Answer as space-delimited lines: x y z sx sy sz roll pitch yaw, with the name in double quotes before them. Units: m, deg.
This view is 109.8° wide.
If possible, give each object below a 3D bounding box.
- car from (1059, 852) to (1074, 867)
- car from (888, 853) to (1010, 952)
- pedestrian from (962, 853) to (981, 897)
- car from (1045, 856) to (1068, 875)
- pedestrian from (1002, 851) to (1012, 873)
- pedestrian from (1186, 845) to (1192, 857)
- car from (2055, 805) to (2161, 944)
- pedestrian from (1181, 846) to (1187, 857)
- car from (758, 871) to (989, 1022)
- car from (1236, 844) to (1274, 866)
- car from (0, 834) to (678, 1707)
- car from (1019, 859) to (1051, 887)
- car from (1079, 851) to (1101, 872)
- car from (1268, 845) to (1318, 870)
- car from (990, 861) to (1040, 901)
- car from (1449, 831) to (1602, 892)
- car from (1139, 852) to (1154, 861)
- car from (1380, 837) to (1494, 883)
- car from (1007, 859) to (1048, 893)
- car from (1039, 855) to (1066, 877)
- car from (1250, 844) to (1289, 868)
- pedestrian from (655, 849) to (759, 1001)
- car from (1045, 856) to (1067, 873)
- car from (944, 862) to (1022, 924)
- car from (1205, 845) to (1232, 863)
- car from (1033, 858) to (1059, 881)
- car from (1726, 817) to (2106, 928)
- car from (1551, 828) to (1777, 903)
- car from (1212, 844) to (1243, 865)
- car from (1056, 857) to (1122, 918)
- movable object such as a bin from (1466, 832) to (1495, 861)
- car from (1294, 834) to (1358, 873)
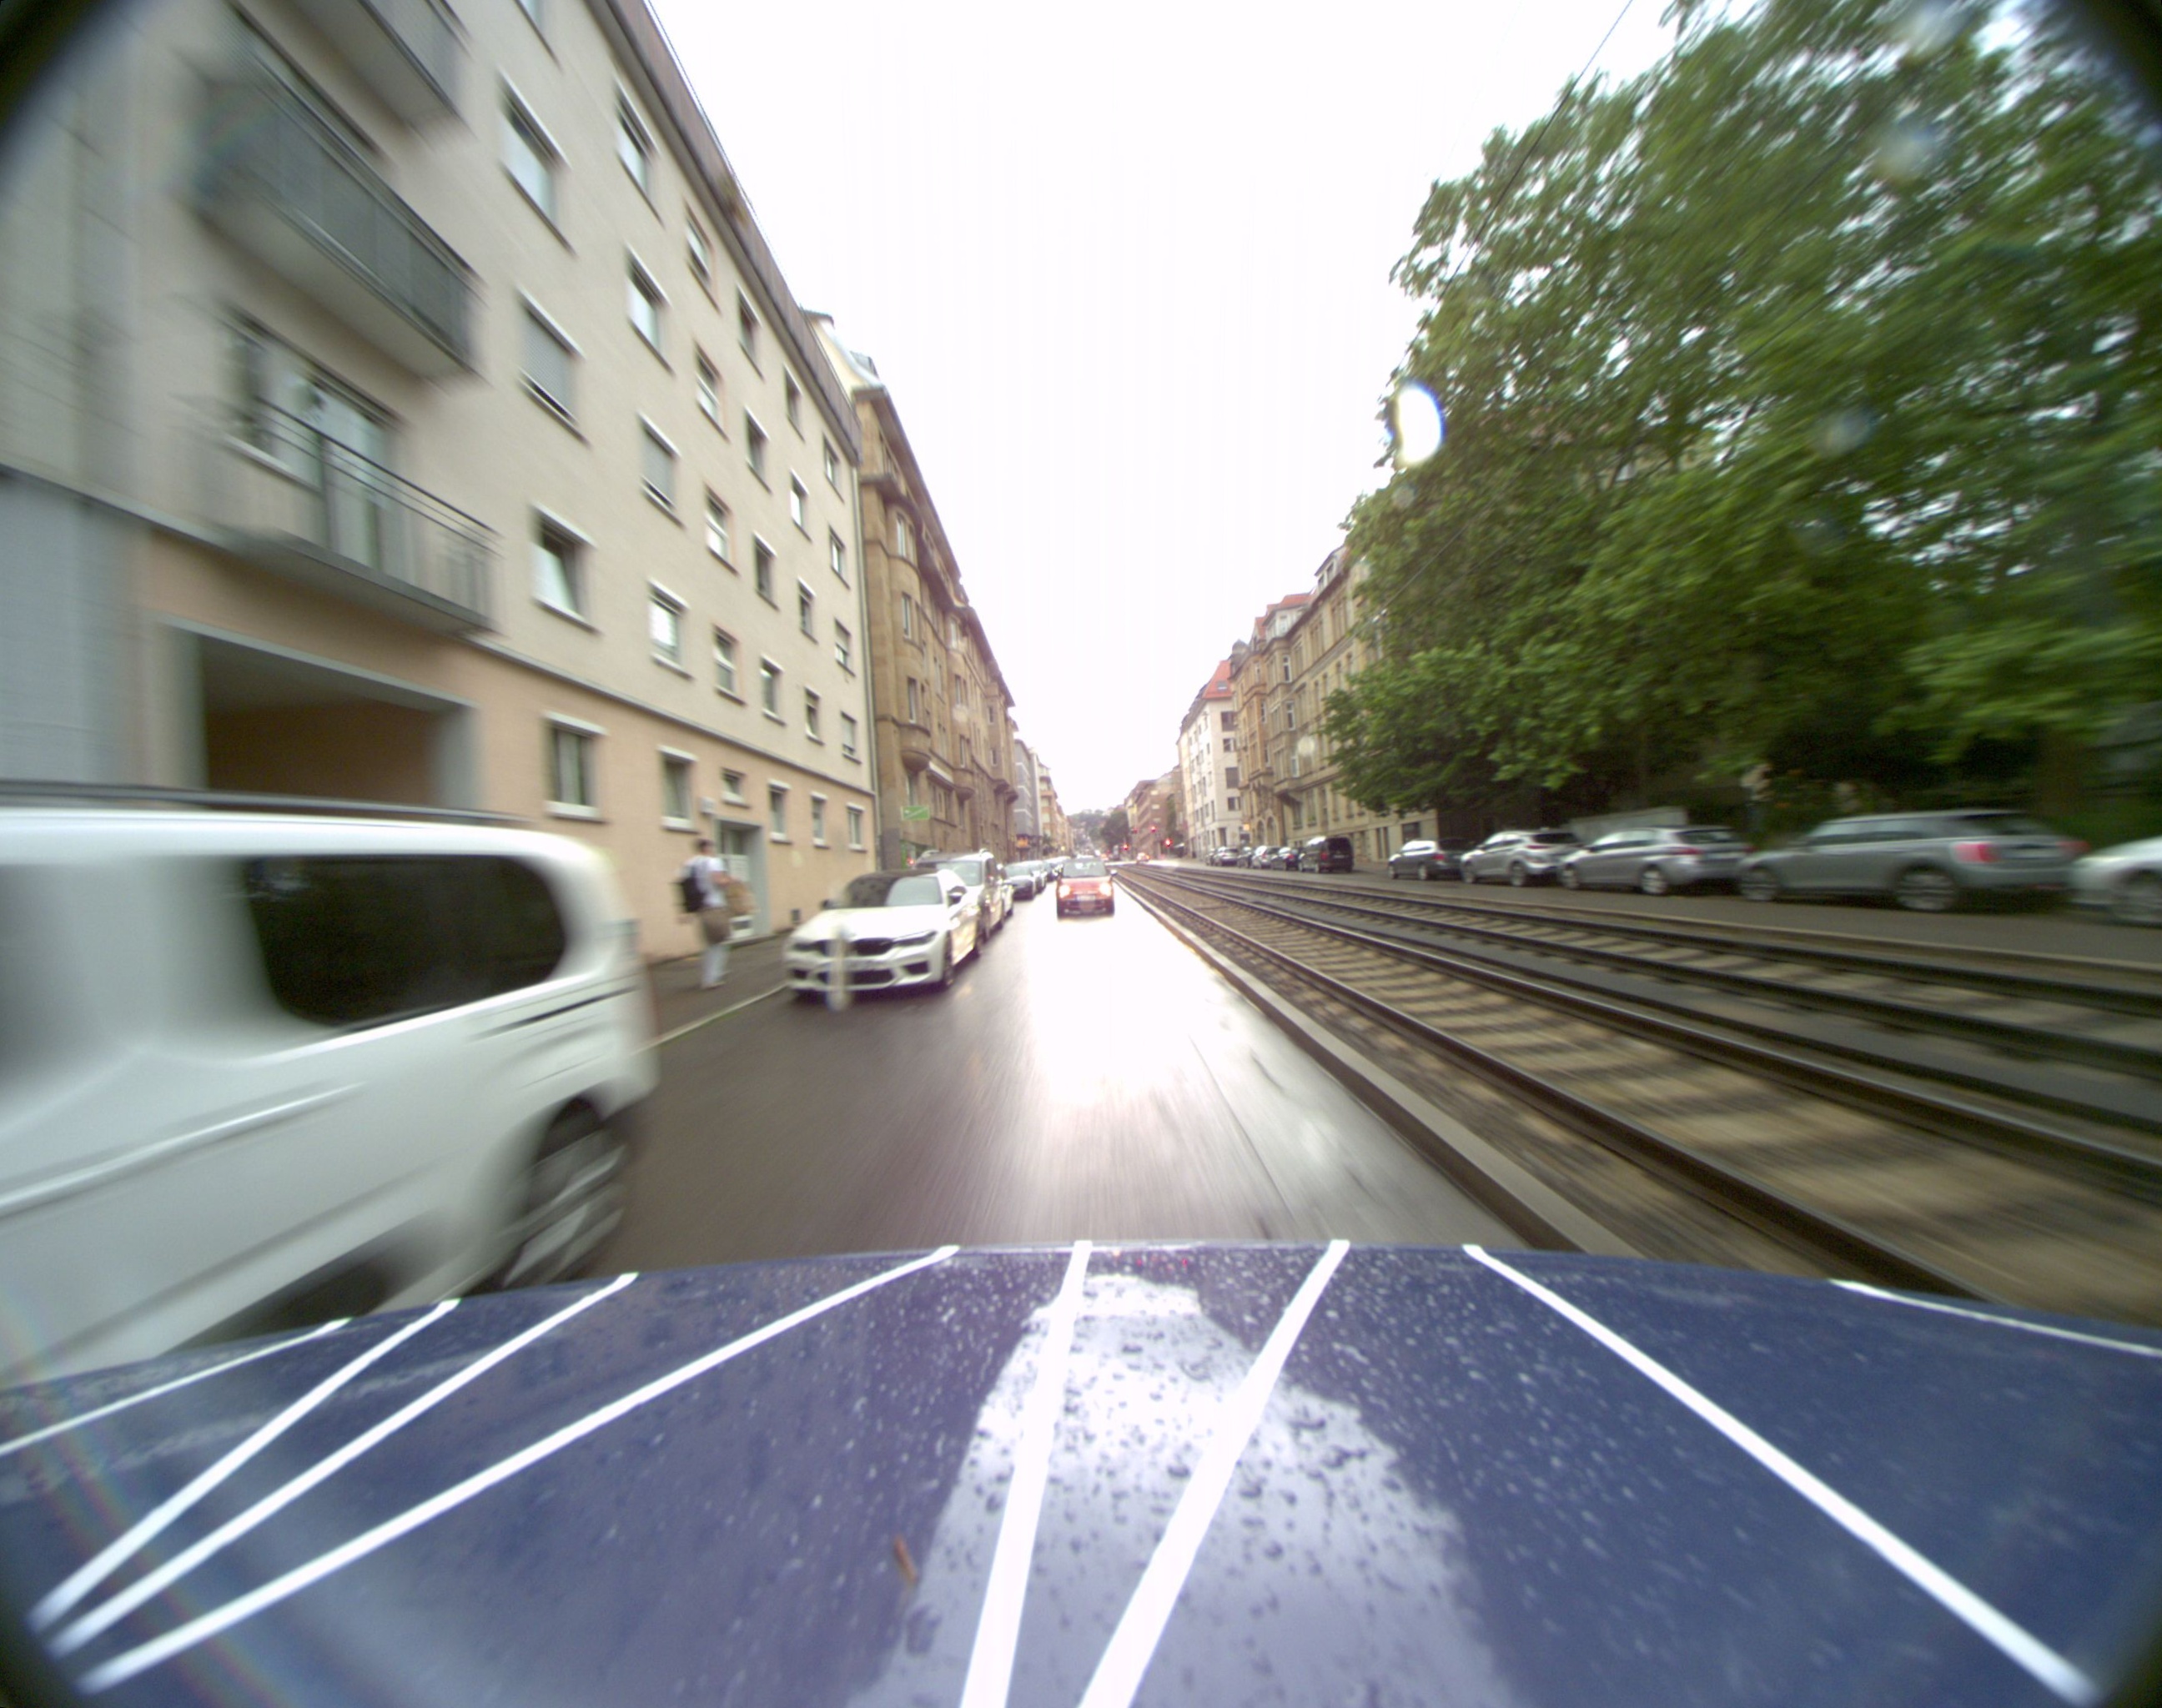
"car" -1.865 0.695 99.233 1.797 1.750 4.565 -3 0 0
"car" -2.632 0.894 16.176 1.795 1.755 4.211 -2 0 0
"pedestrian" -4.375 0.826 30.372 0.608 1.753 0.688 -1 1 0
"car" -1.995 0.889 61.796 1.711 1.390 4.018 -3 0 -1
"pedestrian" -5.249 0.547 53.759 0.562 1.526 0.710 -3 1 1
"pedestrian" 16.435 -0.464 115.555 0.603 1.708 0.658 -6 1 3
"car" 12.393 0.208 6.982 1.543 1.496 4.154 -1 0 0
"pedestrian" 15.635 -0.373 115.606 0.603 1.708 0.746 -6 1 3
"car" -2.551 1.061 10.704 1.876 1.447 4.902 -3 0 -1
"car" 13.031 0.058 57.234 1.875 1.499 4.169 -3 0 0
"car" -2.872 0.882 1.229 1.832 1.740 4.467 -3 0 2
"car" -2.551 1.024 42.664 1.594 1.426 3.683 -2 0 -2
"car" 0.913 0.705 77.171 2.135 2.002 4.328 -3 0 1
"car" 12.813 0.198 46.182 1.767 1.390 4.269 -2 0 -1
"car" -2.624 1.044 30.968 1.674 1.402 4.311 -3 0 -1
"car" 12.464 0.180 21.709 1.758 1.527 4.543 -1 0 1
"car" 10.656 0.412 123.110 1.986 1.448 4.294 -2 0 -1
"car" 12.535 0.181 27.133 1.854 1.455 4.549 -1 0 -1
"car" -2.517 1.018 36.732 1.672 1.426 3.955 -2 0 -1
"car" -2.062 0.875 56.223 1.792 1.454 4.083 -3 0 -1
"car" 12.834 0.100 51.973 1.699 1.515 3.855 -2 0 1
"pedestrian" -4.721 0.859 9.659 0.747 1.823 1.039 -1 0 2
"car" -2.231 0.929 66.739 1.759 1.379 4.484 -1 0 -3
"car" -2.644 1.020 21.248 1.574 1.453 3.599 -3 0 1
"car" 12.981 -0.027 72.044 1.863 1.592 4.430 -2 0 2
"car" -2.369 1.036 51.921 1.548 1.406 3.446 -3 0 -1
"car" 12.463 0.235 11.787 1.543 1.405 3.952 -1 0 0
"car" 12.525 0.225 16.726 1.758 1.405 4.153 -1 0 0
"car" 12.898 0.047 67.141 1.863 1.643 4.314 -3 0 -1
"car" 0.217 0.886 22.034 1.683 1.531 4.018 -2 0 0
"movable object such as a bin" 16.068 -0.299 30.594 0.718 1.114 0.773 -4 1 3
"car" 12.671 -0.038 39.593 1.805 1.836 4.818 -2 0 0
